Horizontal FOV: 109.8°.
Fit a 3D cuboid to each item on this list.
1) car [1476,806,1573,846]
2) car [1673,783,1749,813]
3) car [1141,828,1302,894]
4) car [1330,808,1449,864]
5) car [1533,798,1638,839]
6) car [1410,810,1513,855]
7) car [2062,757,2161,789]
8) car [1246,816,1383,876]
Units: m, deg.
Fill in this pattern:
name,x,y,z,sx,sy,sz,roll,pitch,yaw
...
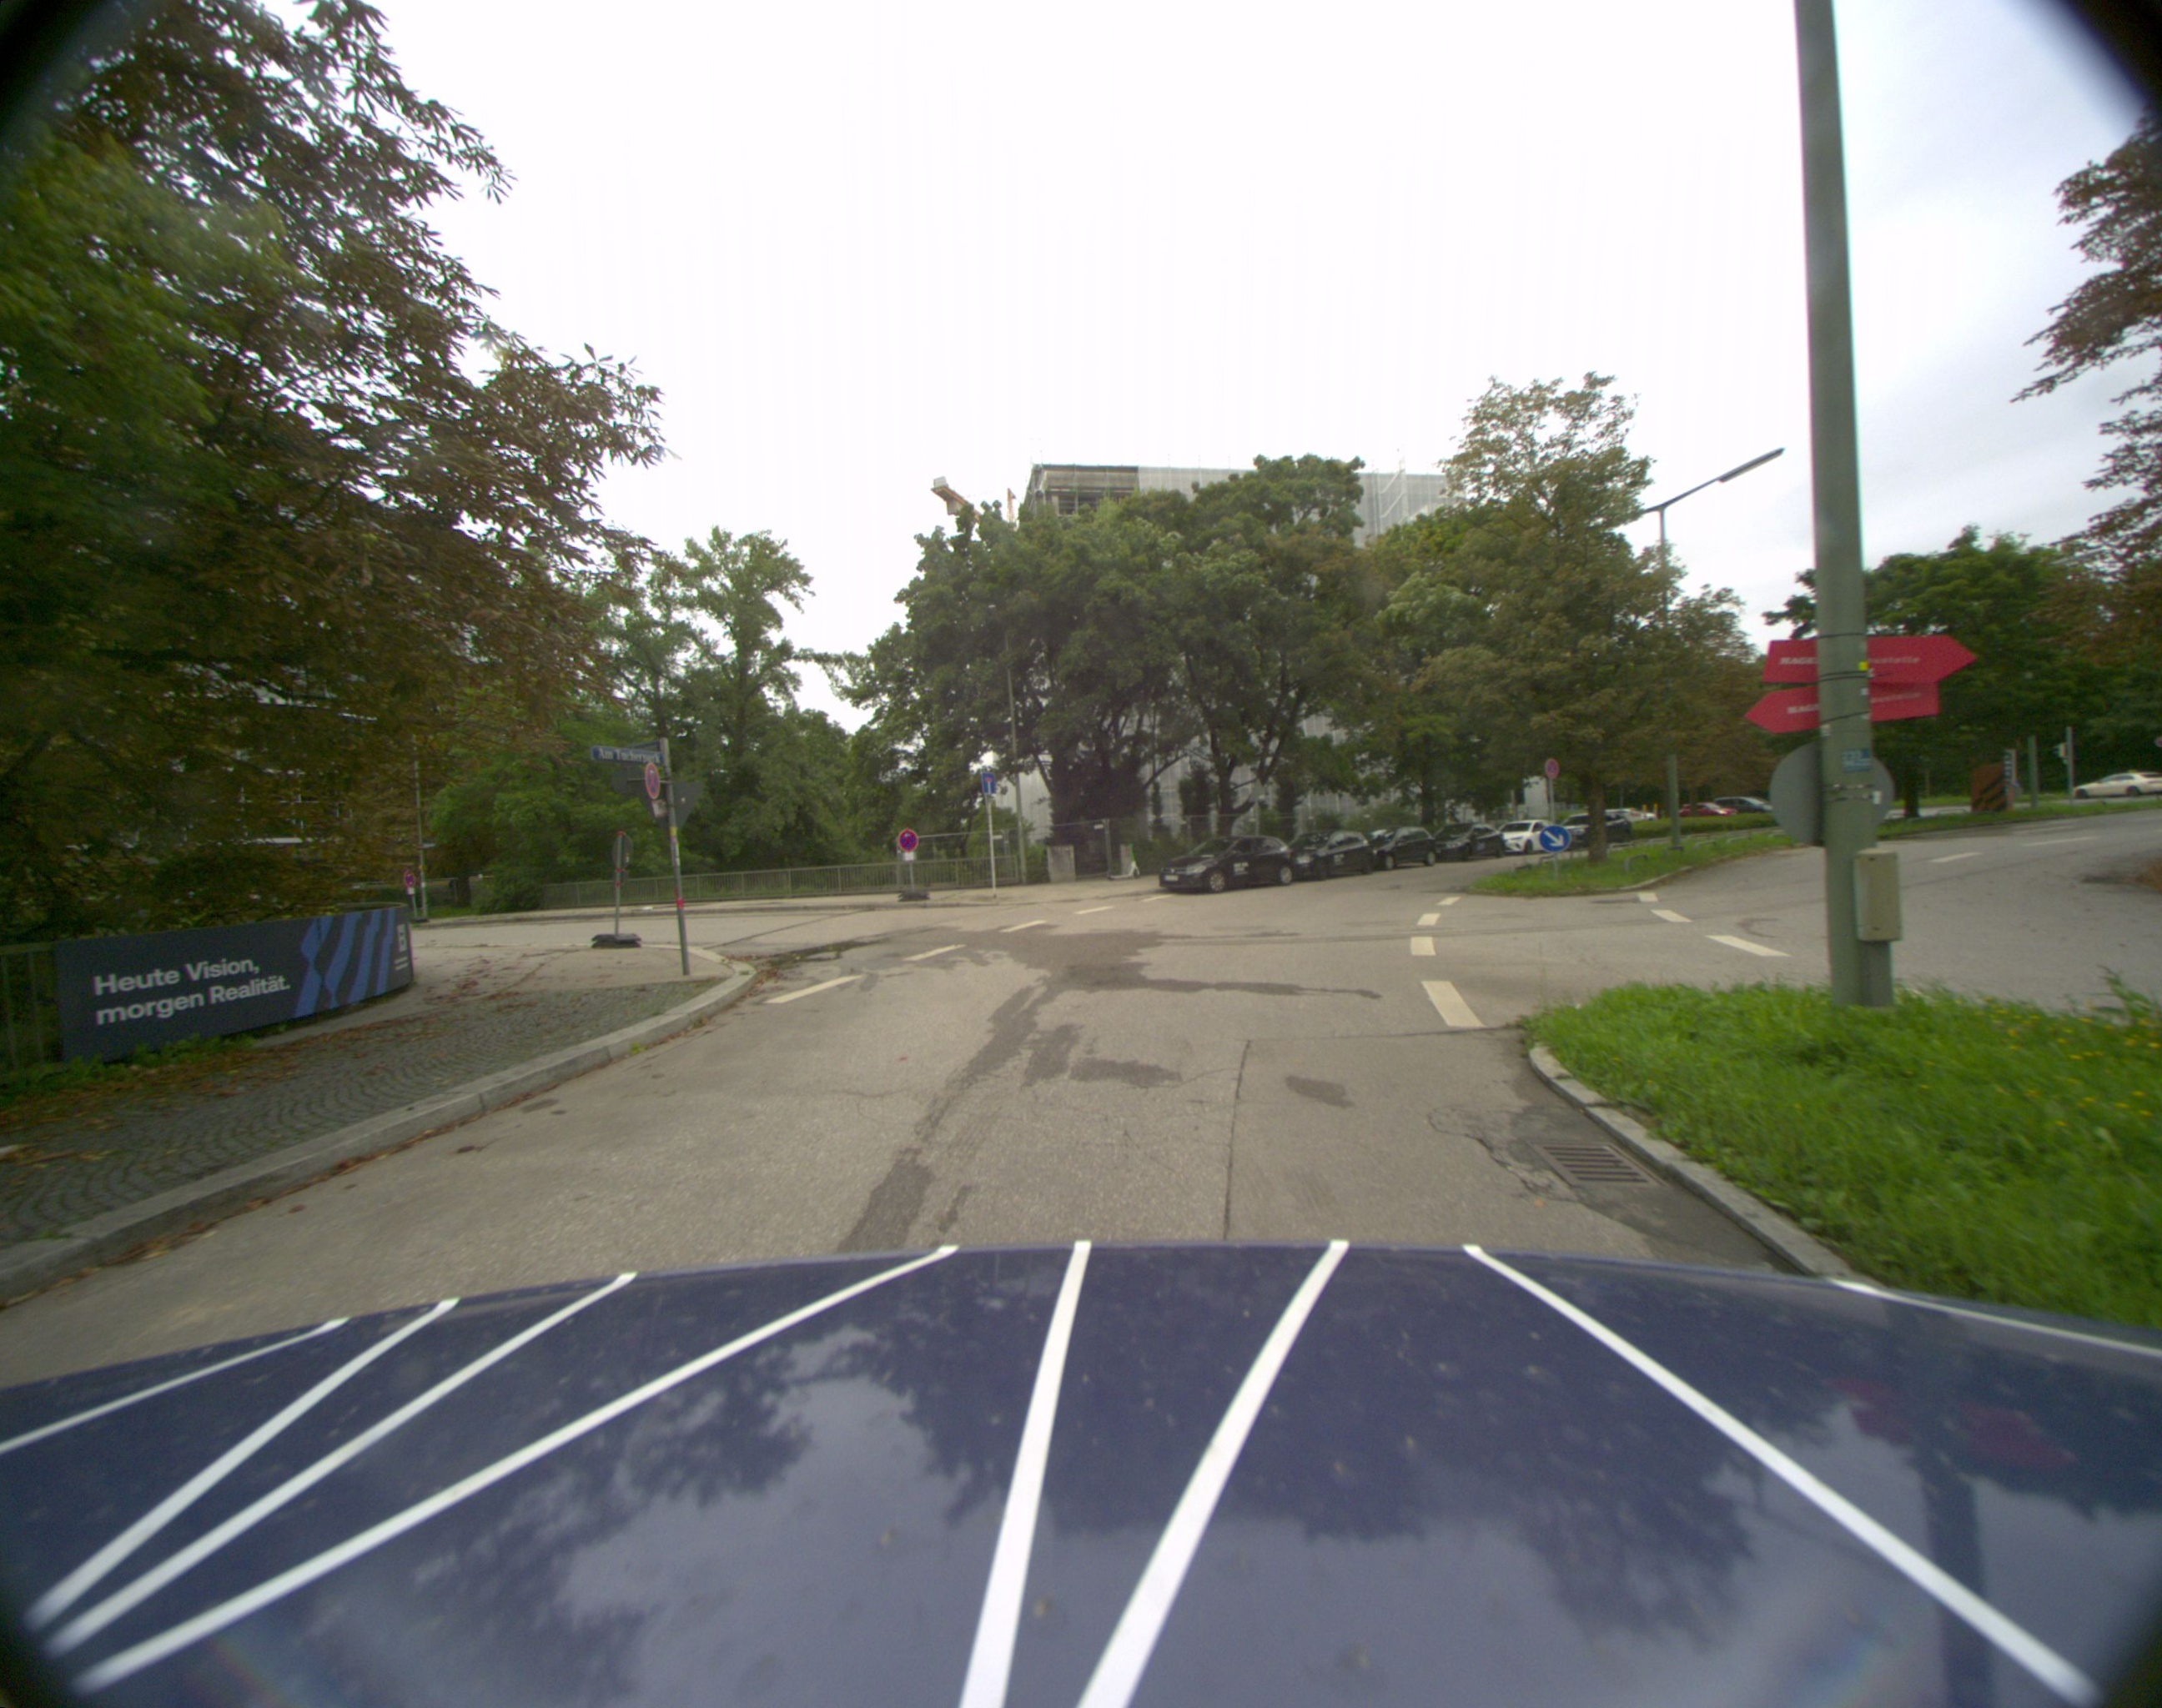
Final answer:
name,x,y,z,sx,sy,sz,roll,pitch,yaw
car,18.590,-1.182,31.788,4.224,1.375,1.798,-4,1,-34
car,49.790,-4.418,60.139,2.001,2.002,4.151,-4,1,-18
car,3.823,0.116,20.451,4.049,1.425,1.994,-5,3,-36
car,10.681,-0.644,26.196,4.006,1.696,1.994,-4,3,-37
car,22.484,-1.586,33.871,4.401,1.596,1.888,-3,0,-26
car,14.553,-0.843,29.010,4.012,1.452,1.836,-4,1,-37
car,63.271,-4.927,46.149,1.891,1.536,4.857,-3,1,13
car,7.145,-0.255,23.077,4.006,1.532,1.995,-5,1,-39
